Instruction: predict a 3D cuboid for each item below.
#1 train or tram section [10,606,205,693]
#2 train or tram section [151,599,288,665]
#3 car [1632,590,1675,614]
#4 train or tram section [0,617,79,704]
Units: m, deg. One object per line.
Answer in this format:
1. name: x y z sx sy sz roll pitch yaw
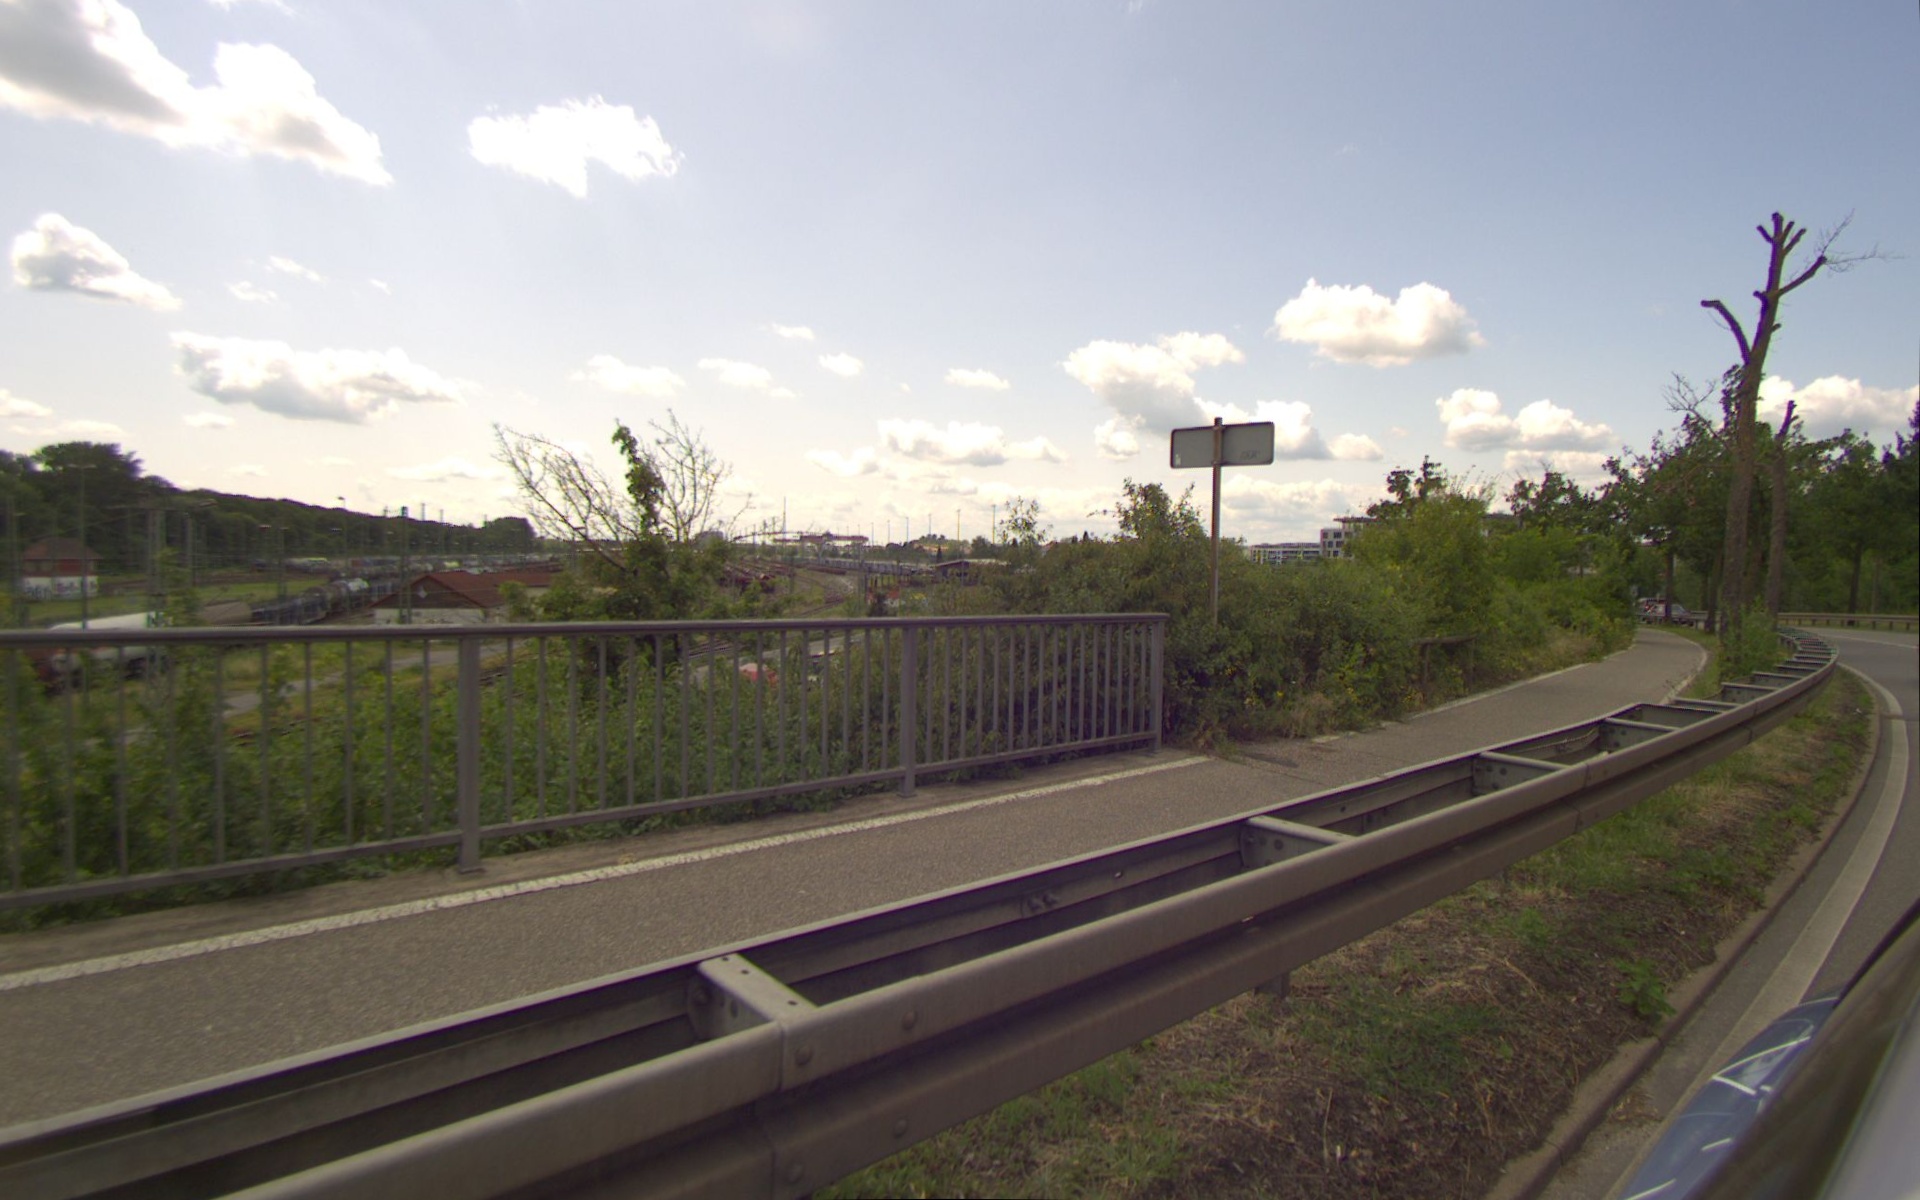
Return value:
1. train or tram section: -55.738 2.917 67.177 3.151 4.203 17.005 -3 3 -16
2. train or tram section: -60.683 2.377 83.723 3.146 4.203 17.738 -3 3 -16
3. car: 53.298 0.133 77.856 1.837 1.730 4.279 1 1 23
4. train or tram section: -50.927 3.498 49.783 3.153 4.203 18.943 -3 3 -15
